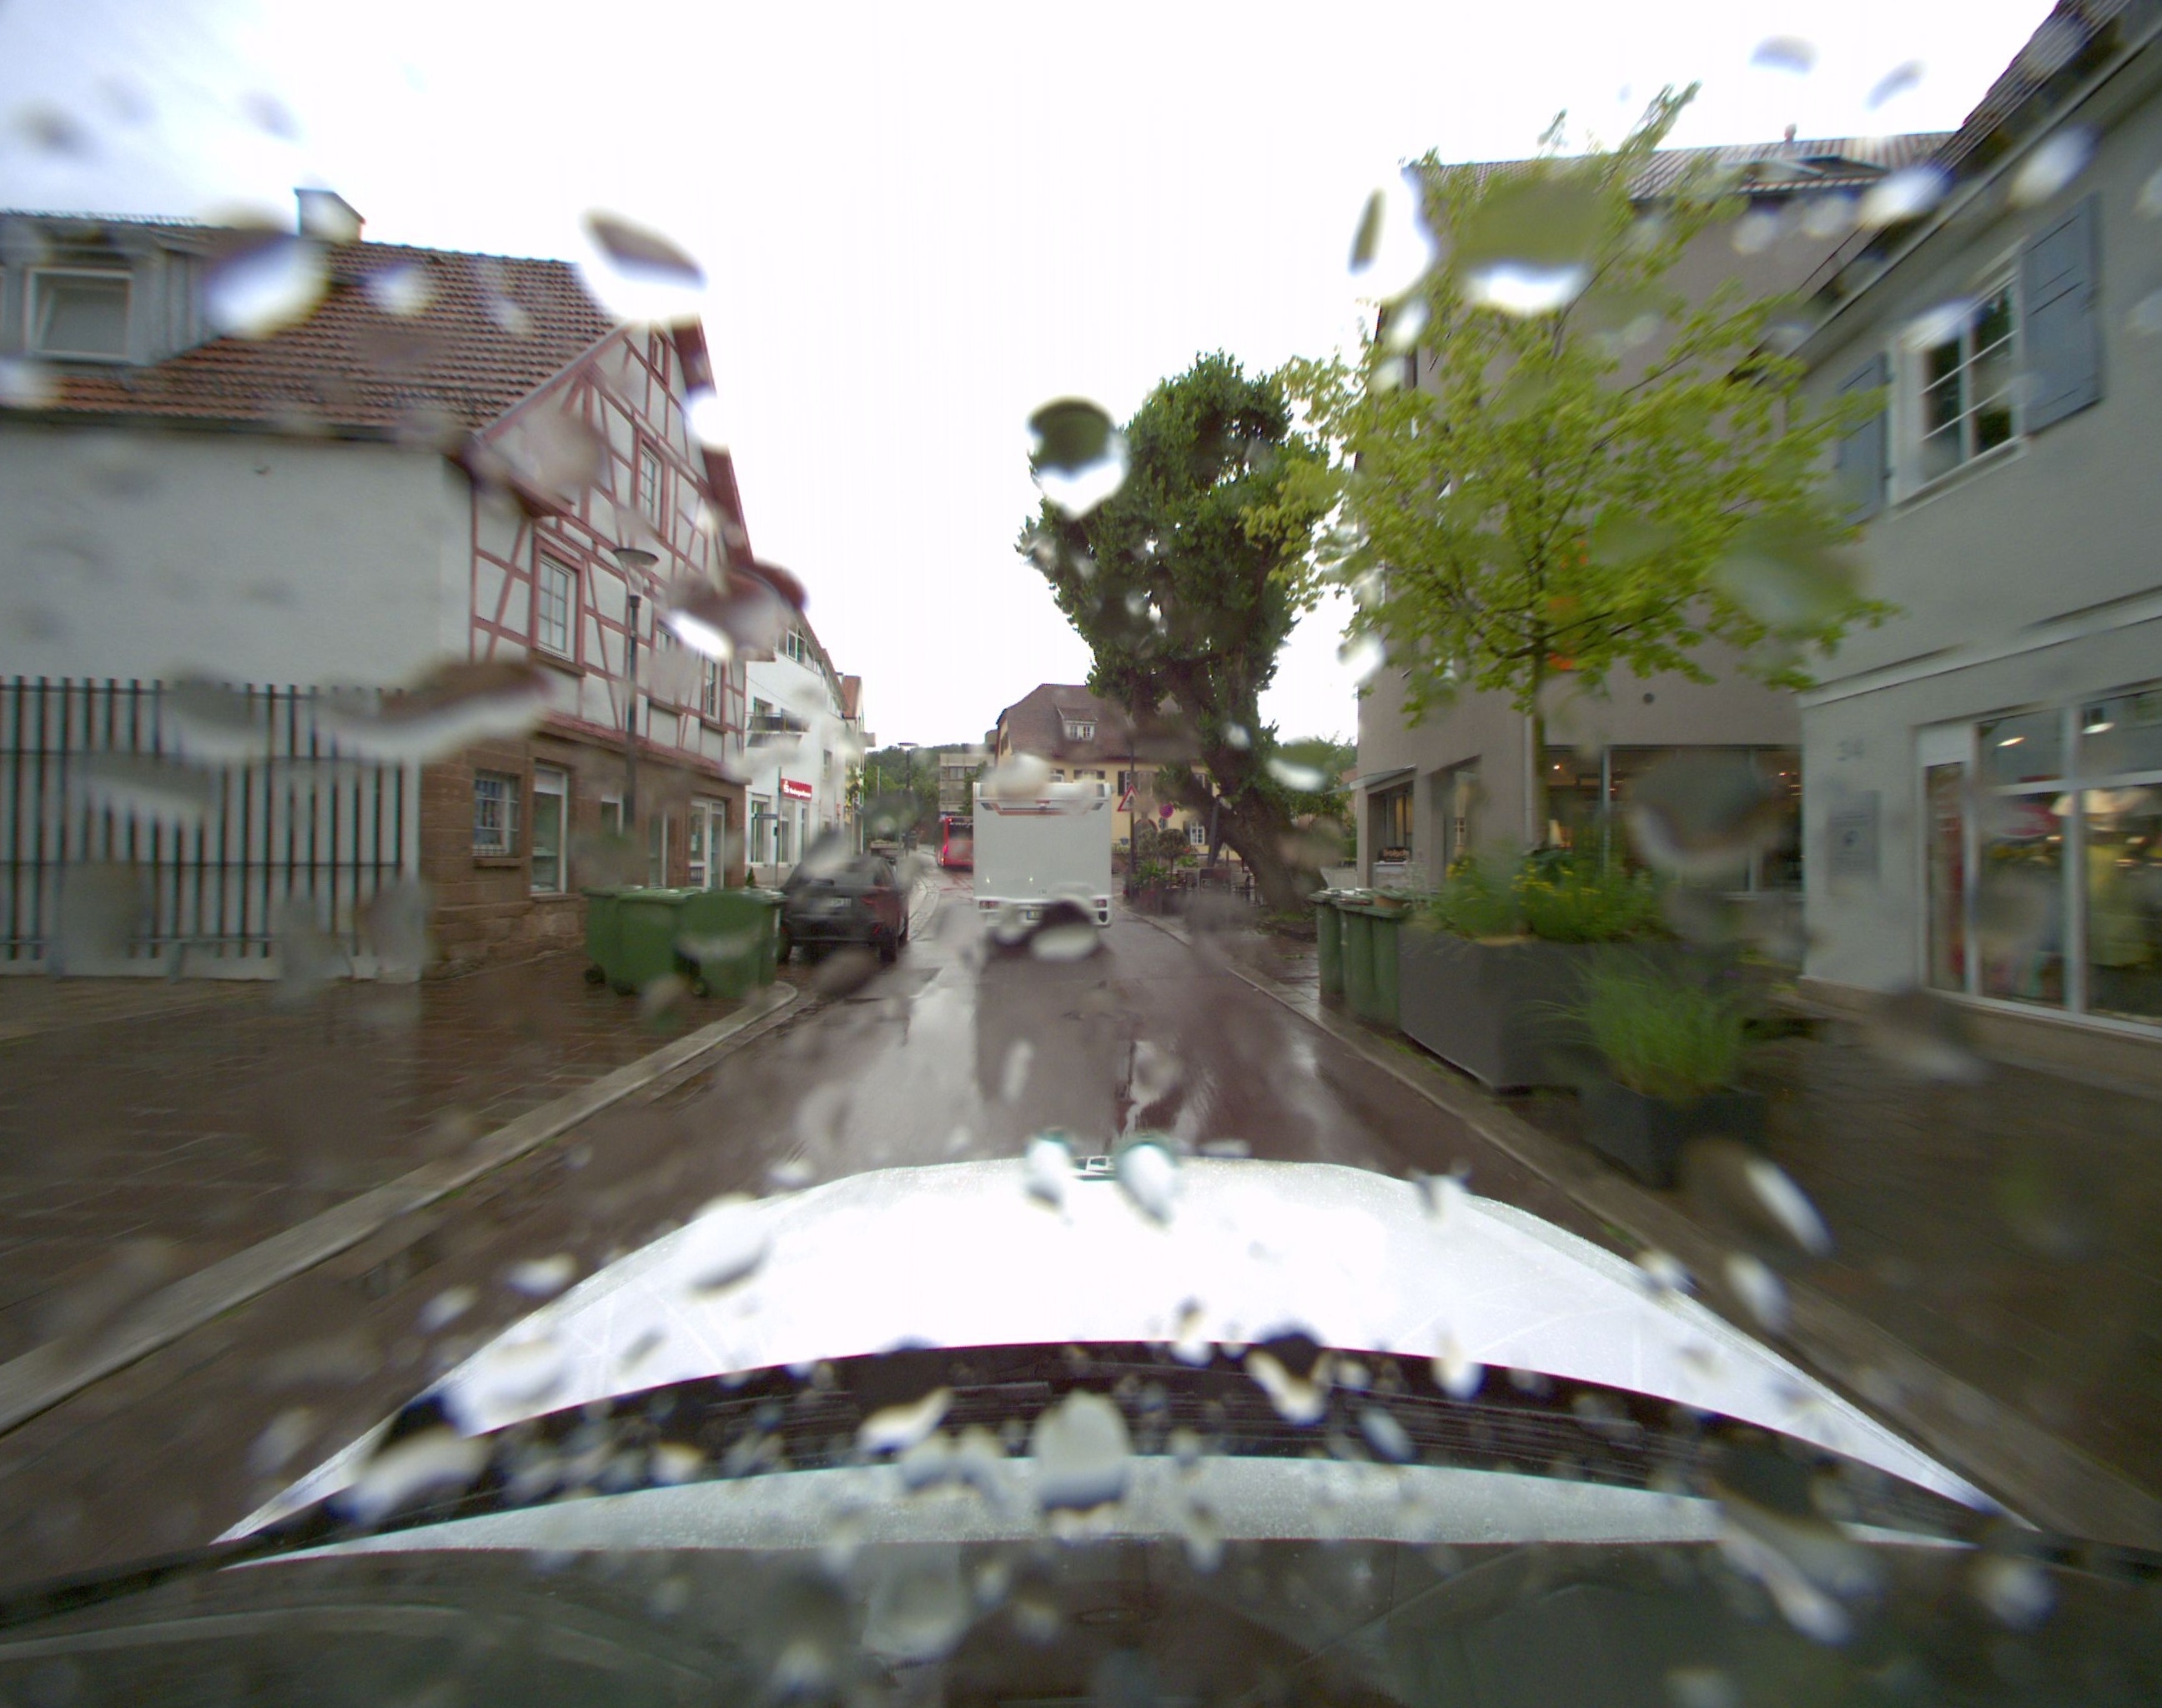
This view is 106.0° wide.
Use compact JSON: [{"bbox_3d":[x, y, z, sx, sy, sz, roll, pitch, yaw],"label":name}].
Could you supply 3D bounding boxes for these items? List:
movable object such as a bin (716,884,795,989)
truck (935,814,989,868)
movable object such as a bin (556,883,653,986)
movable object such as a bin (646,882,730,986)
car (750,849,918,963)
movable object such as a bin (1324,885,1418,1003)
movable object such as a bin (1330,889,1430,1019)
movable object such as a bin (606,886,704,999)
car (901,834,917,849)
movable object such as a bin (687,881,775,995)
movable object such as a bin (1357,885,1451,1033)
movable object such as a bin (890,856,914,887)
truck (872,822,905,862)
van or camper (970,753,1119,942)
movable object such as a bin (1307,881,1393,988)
[{"bbox_3d":[-3.685,0.911,9.260,0.629,1.123,0.732,0,-1,-4],"label":"movable object such as a bin"},{"bbox_3d":[-7.021,-0.643,47.560,2.466,2.939,6.166,0,-1,-15],"label":"truck"},{"bbox_3d":[-5.120,0.843,8.788,0.629,1.052,0.732,0,-1,-4],"label":"movable object such as a bin"},{"bbox_3d":[-4.442,0.882,9.250,0.629,1.123,0.732,0,-1,-4],"label":"movable object such as a bin"},{"bbox_3d":[-3.686,0.690,12.879,1.993,1.494,3.987,1,0,-10],"label":"car"},{"bbox_3d":[2.847,0.864,8.034,0.726,1.102,0.561,0,-1,1],"label":"movable object such as a bin"},{"bbox_3d":[2.682,0.880,7.350,0.690,1.102,0.562,0,-1,1],"label":"movable object such as a bin"},{"bbox_3d":[-4.404,0.892,8.462,0.629,1.052,0.733,0,3,-4],"label":"movable object such as a bin"},{"bbox_3d":[-24.019,-1.754,113.643,1.996,2.014,3.980,0,-1,-14],"label":"car"},{"bbox_3d":[-3.629,0.851,8.495,0.629,1.113,0.732,0,-1,-4],"label":"movable object such as a bin"},{"bbox_3d":[2.665,0.844,6.762,0.541,1.156,0.577,0,-1,1],"label":"movable object such as a bin"},{"bbox_3d":[-6.193,0.618,28.215,0.819,1.051,0.697,0,-1,-12],"label":"movable object such as a bin"},{"bbox_3d":[-14.201,-0.837,59.864,2.284,2.758,5.540,0,-1,-15],"label":"truck"},{"bbox_3d":[-0.880,-0.050,15.921,2.323,2.919,6.379,0,-1,-6],"label":"van or camper"},{"bbox_3d":[2.835,0.835,8.641,0.726,1.080,0.577,0,-1,1],"label":"movable object such as a bin"}]
